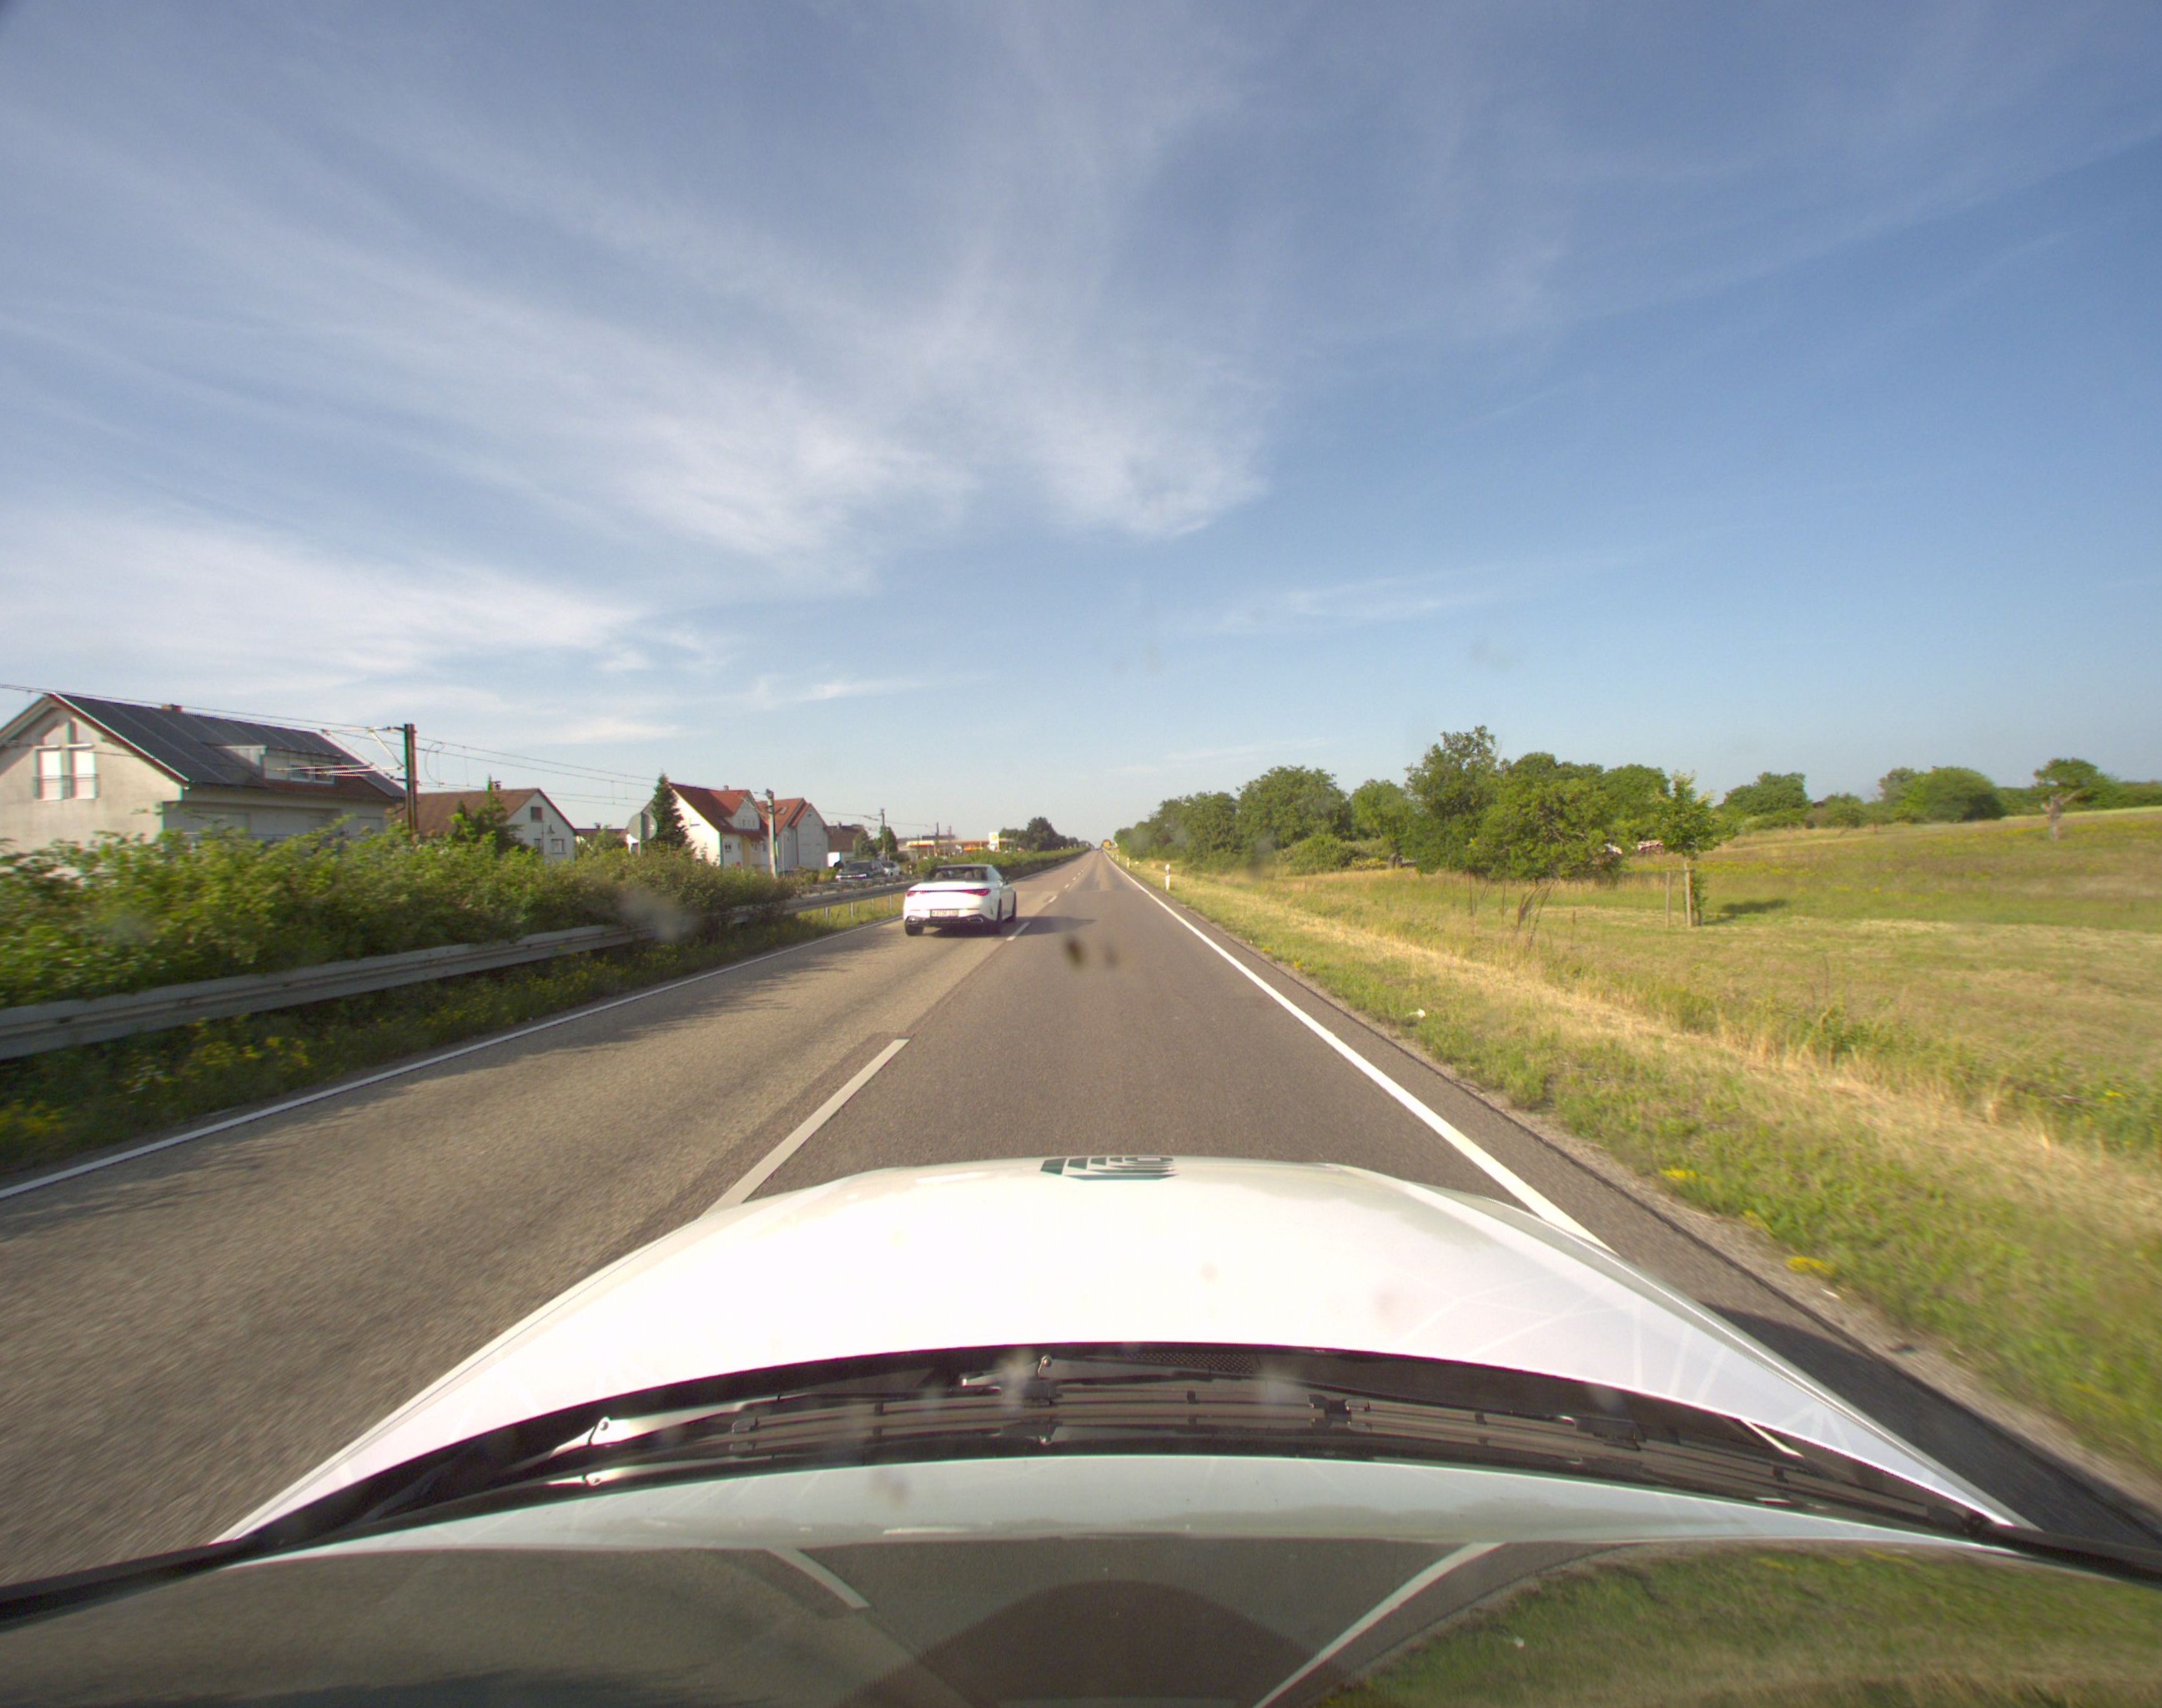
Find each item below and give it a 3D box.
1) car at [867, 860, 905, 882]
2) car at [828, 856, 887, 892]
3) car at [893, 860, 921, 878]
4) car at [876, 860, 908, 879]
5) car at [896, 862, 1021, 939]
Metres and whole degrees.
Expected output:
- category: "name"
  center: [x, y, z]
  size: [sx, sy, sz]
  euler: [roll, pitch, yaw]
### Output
- category: "car"
  center: [-14.905, 1.265, 62.511]
  size: [1.709, 1.611, 4.447]
  euler: [0, 0, 1]
- category: "car"
  center: [-11.660, 1.005, 42.843]
  size: [1.723, 1.634, 4.320]
  euler: [-4, 0, 1]
- category: "car"
  center: [-17.735, 1.468, 83.155]
  size: [1.986, 1.750, 4.001]
  euler: [0, 0, 1]
- category: "car"
  center: [-17.924, 1.456, 77.407]
  size: [1.986, 1.750, 4.001]
  euler: [0, 0, 1]
- category: "car"
  center: [-2.432, 0.880, 17.409]
  size: [1.765, 1.337, 4.952]
  euler: [0, 0, 2]
